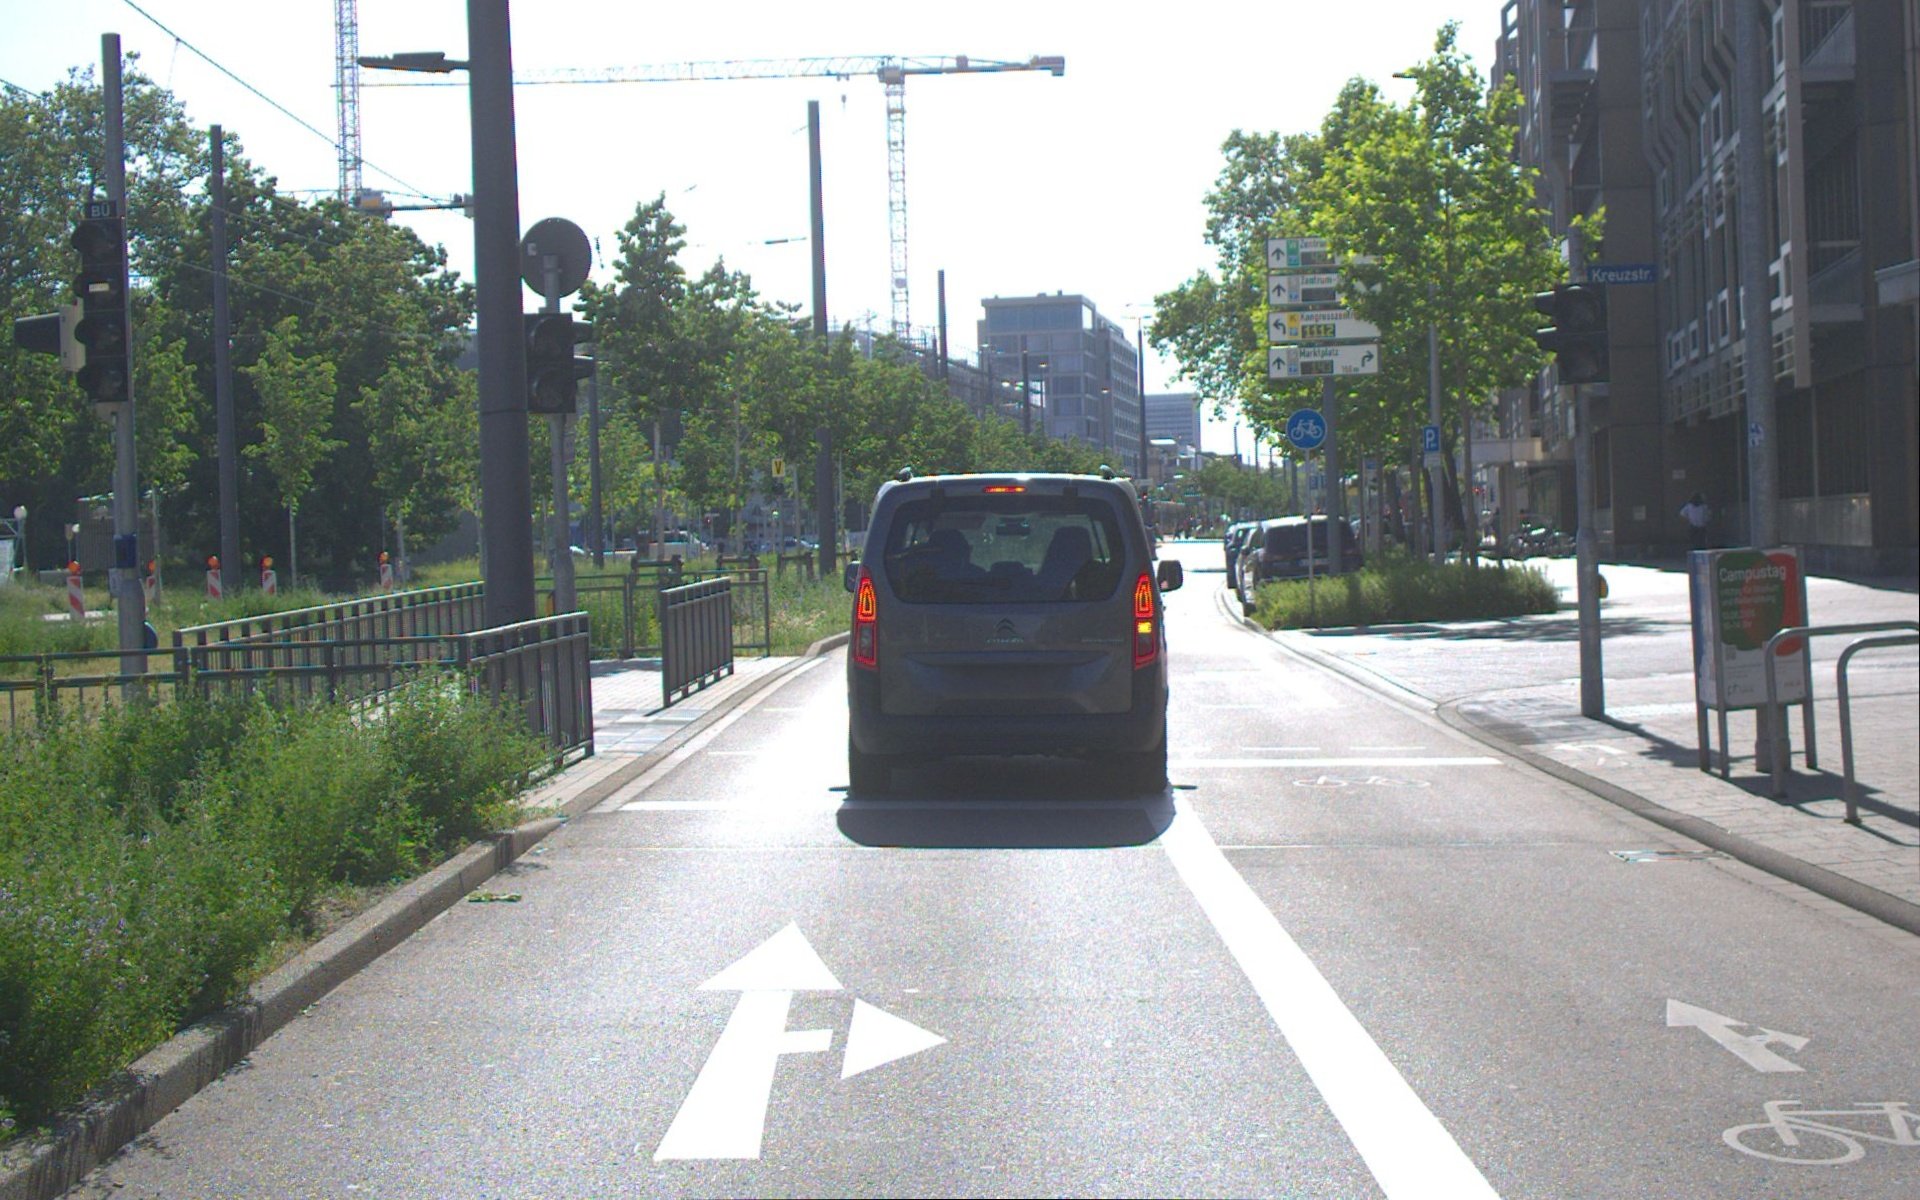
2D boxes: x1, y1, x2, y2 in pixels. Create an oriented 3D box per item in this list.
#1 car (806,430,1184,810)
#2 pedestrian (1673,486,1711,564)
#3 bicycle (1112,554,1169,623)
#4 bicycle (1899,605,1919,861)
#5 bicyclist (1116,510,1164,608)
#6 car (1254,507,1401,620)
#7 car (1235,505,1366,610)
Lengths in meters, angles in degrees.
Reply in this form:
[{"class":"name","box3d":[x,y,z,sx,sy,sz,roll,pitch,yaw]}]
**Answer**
[{"class":"car","box3d":[0.185,0.049,20.319,1.993,2.006,4.000,-1,2,0]},{"class":"pedestrian","box3d":[15.704,-1.616,73.731,0.700,1.647,0.724,-1,1,7]},{"class":"bicycle","box3d":[2.959,-0.202,56.563,0.701,1.087,2.277,-1,1,-2]},{"class":"bicycle","box3d":[4.660,0.502,13.063,1.915,1.117,0.665,-5,1,-7]},{"class":"bicyclist","box3d":[2.960,-0.675,56.511,0.682,1.579,0.840,-1,1,-2]},{"class":"car","box3d":[5.534,-0.549,52.219,1.988,1.632,4.189,-1,0,3]},{"class":"car","box3d":[5.764,-0.715,58.544,2.021,1.716,4.118,-1,0,3]}]
